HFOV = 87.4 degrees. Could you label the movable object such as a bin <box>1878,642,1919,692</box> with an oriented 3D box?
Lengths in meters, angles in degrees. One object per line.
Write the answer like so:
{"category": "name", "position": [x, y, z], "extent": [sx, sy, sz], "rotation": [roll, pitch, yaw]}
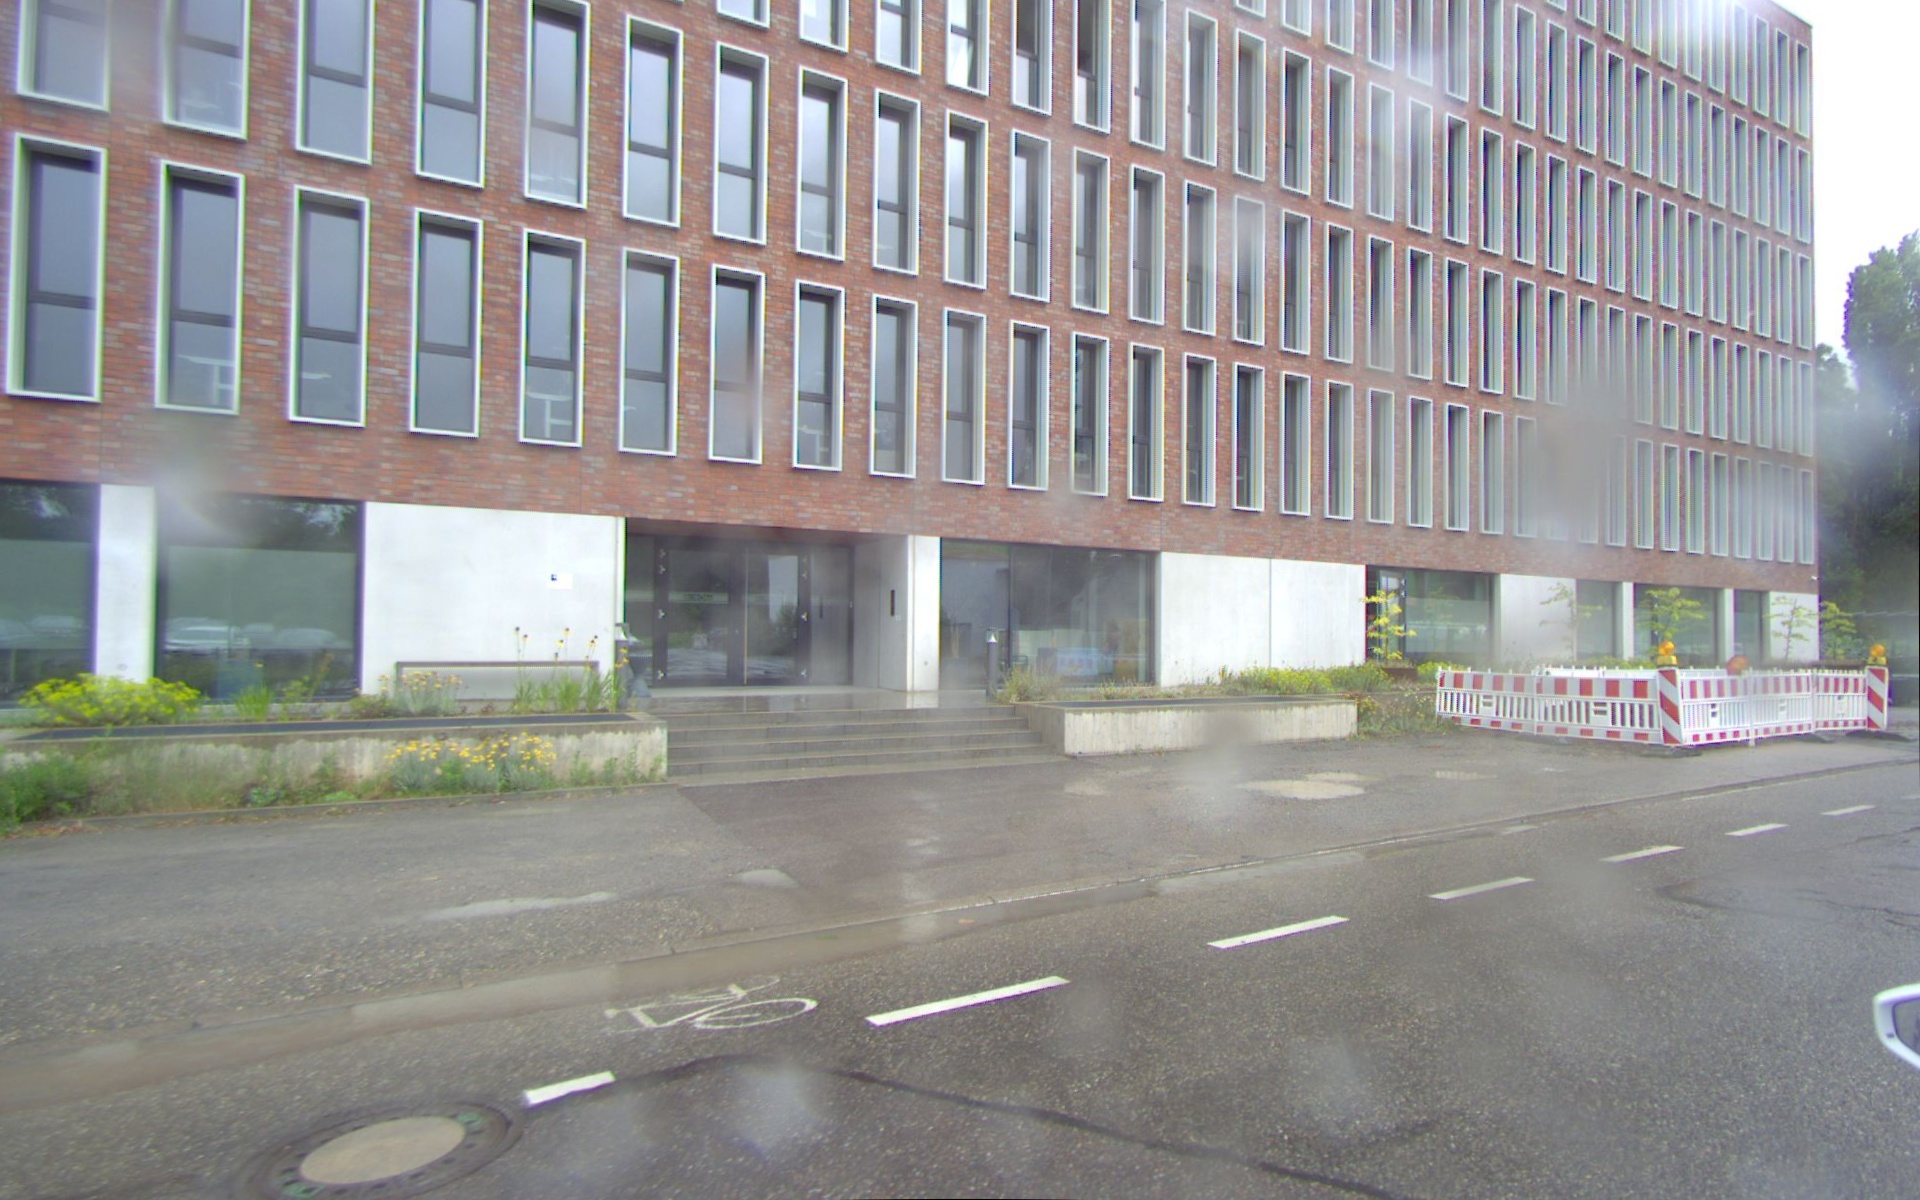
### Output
{"category": "movable object such as a bin", "position": [26.624, 1.863, 27.677], "extent": [1.422, 1.325, 1.377], "rotation": [2, -2, -9]}

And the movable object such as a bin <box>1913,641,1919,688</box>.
{"category": "movable object such as a bin", "position": [28.643, 1.894, 29.042], "extent": [1.343, 1.349, 1.288], "rotation": [3, -2, -32]}

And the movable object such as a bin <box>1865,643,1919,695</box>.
{"category": "movable object such as a bin", "position": [25.063, 1.823, 26.680], "extent": [1.435, 1.325, 1.286], "rotation": [3, -2, -37]}
